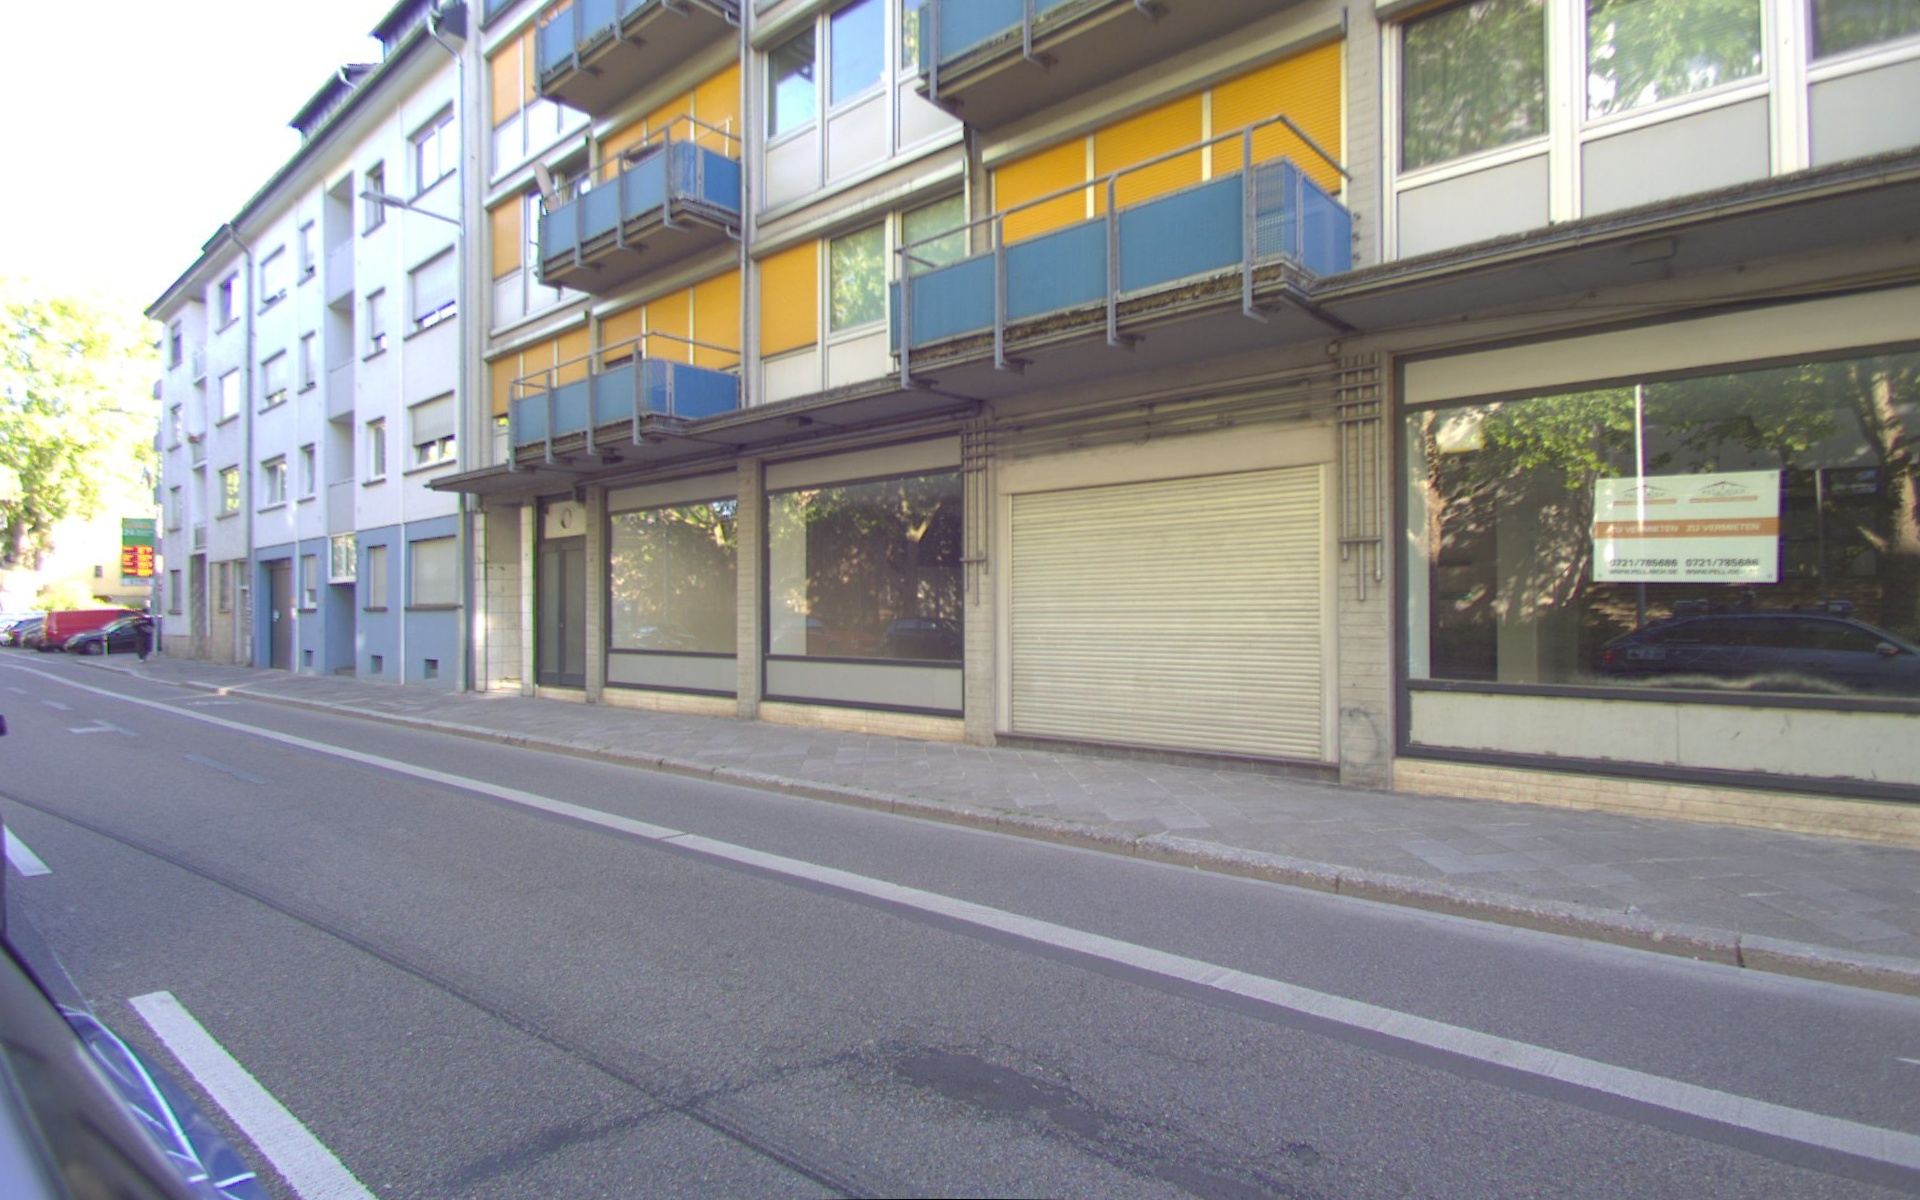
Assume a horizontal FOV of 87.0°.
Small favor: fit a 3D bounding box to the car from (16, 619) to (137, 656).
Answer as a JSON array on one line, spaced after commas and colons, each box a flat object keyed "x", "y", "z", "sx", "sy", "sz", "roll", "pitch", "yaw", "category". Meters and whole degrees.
[{"x": -42.748, "y": 1.786, "z": 49.014, "sx": 1.652, "sy": 1.480, "sz": 4.201, "roll": -1, "pitch": 1, "yaw": 41, "category": "car"}]

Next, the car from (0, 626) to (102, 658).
[{"x": -50.455, "y": 2.288, "z": 56.105, "sx": 1.652, "sy": 1.480, "sz": 4.201, "roll": -1, "pitch": 1, "yaw": 41, "category": "car"}]

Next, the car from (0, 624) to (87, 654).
[{"x": -54.488, "y": 2.274, "z": 59.790, "sx": 1.652, "sy": 1.480, "sz": 4.201, "roll": -1, "pitch": 1, "yaw": 41, "category": "car"}]

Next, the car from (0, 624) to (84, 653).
[{"x": -55.870, "y": 2.294, "z": 61.197, "sx": 1.652, "sy": 1.480, "sz": 4.201, "roll": -1, "pitch": 1, "yaw": 41, "category": "car"}]

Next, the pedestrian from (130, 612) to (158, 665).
[{"x": -26.656, "y": 1.259, "z": 33.047, "sx": 0.655, "sy": 1.708, "sz": 0.604, "roll": -2, "pitch": -1, "yaw": 41, "category": "pedestrian"}]

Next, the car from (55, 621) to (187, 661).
[{"x": -36.486, "y": 1.739, "z": 44.093, "sx": 1.652, "sy": 1.411, "sz": 4.201, "roll": -1, "pitch": 1, "yaw": 41, "category": "car"}]

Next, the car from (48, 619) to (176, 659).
[{"x": -38.179, "y": 1.726, "z": 45.656, "sx": 1.652, "sy": 1.480, "sz": 4.201, "roll": -1, "pitch": 1, "yaw": 41, "category": "car"}]

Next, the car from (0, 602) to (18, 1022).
[{"x": -5.636, "y": 0.796, "z": 4.403, "sx": 4.300, "sy": 1.510, "sz": 1.826, "roll": -1, "pitch": -1, "yaw": 41, "category": "car"}]

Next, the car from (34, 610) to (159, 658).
[{"x": -40.560, "y": 1.554, "z": 47.618, "sx": 1.817, "sy": 1.933, "sz": 4.202, "roll": -1, "pitch": 1, "yaw": 40, "category": "car"}]
